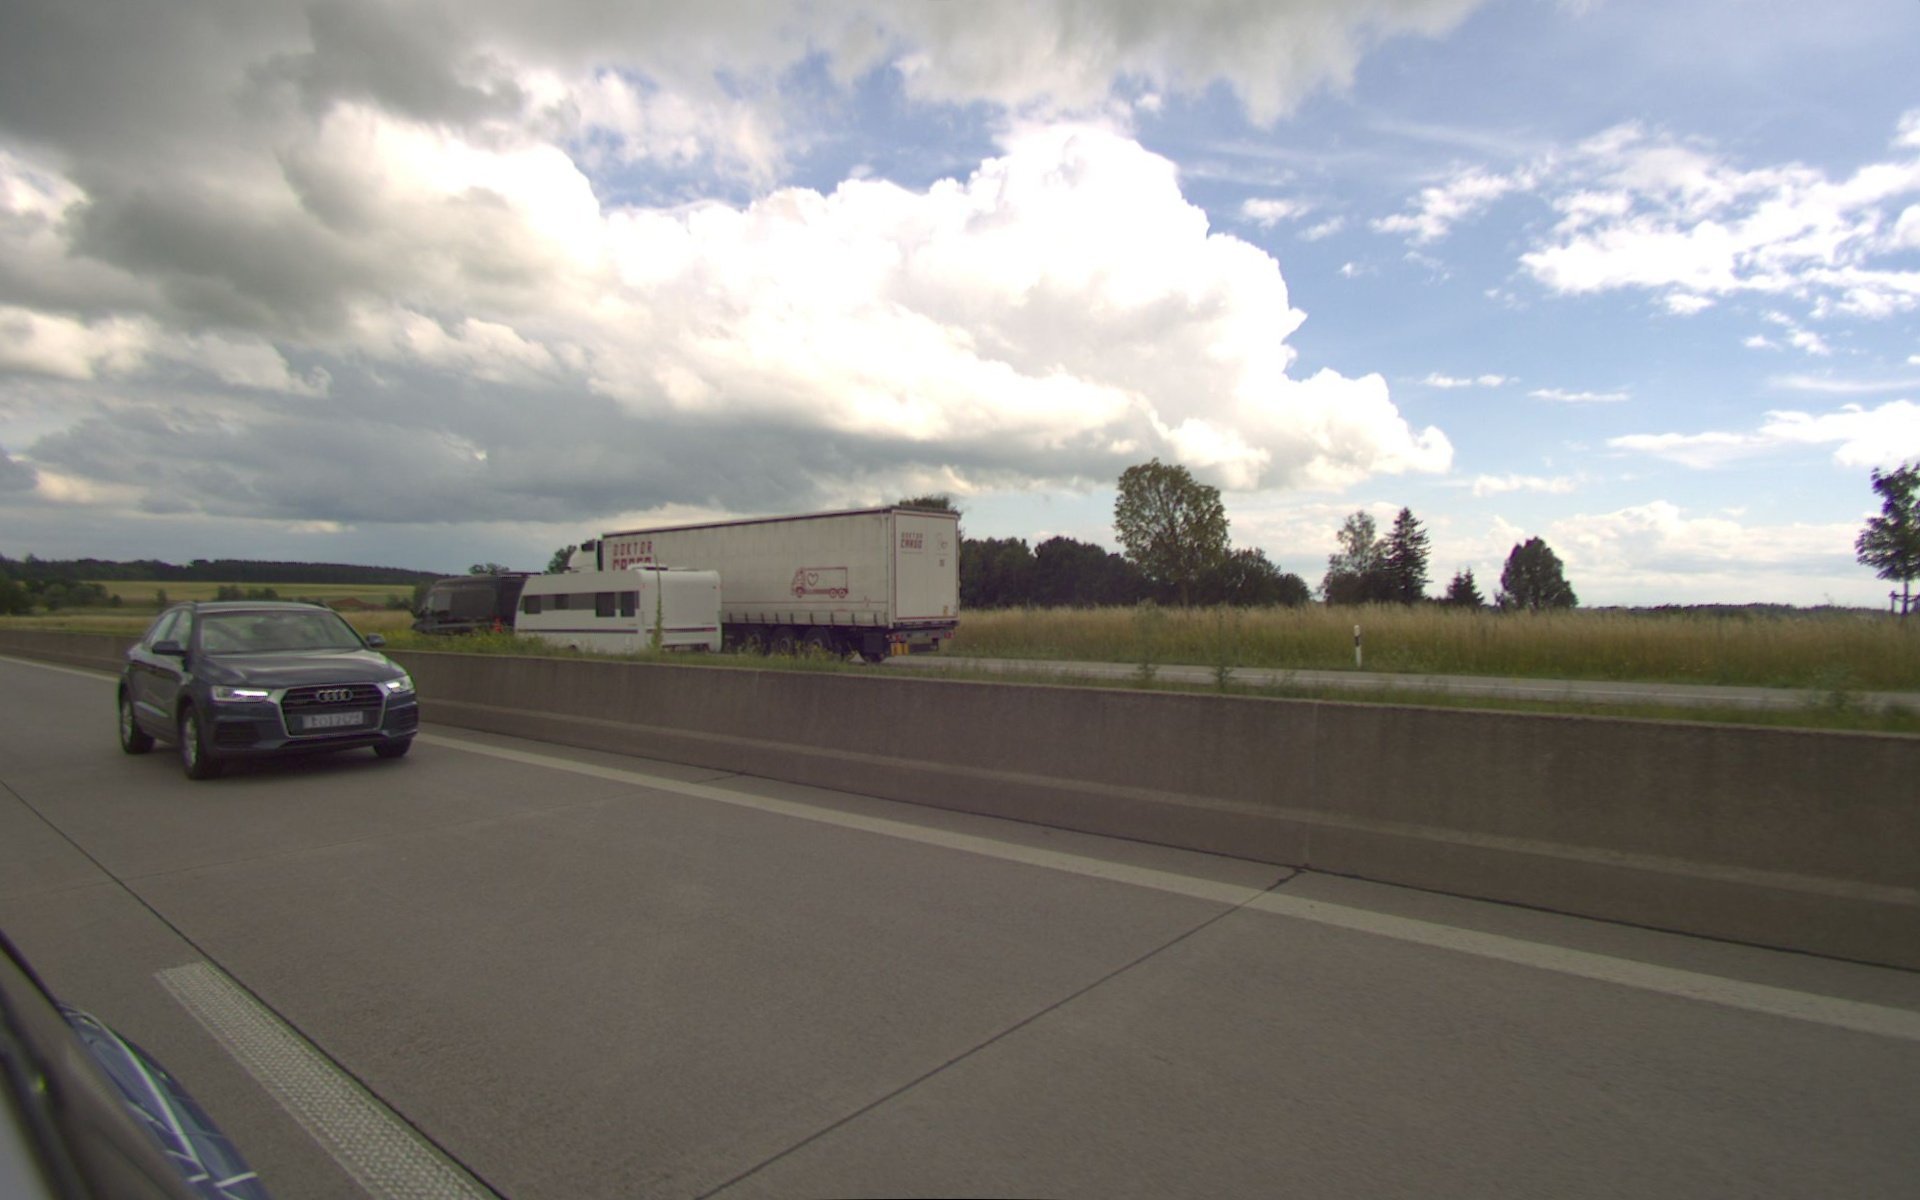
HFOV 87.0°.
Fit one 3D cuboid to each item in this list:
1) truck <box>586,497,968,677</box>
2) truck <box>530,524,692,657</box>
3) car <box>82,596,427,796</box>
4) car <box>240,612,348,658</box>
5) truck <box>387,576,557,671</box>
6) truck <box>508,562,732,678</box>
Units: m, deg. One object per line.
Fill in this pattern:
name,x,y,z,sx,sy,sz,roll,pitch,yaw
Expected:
truck,-6.159,-0.325,30.100,14.562,4.287,2.811,0,0,42
truck,-12.391,-0.332,35.687,6.089,4.287,2.811,0,0,42
car,-7.539,0.808,10.559,5.154,1.608,1.774,-1,0,41
car,-23.029,1.184,34.960,4.208,1.493,1.974,-1,-1,39
truck,-15.871,0.730,32.663,7.121,2.746,2.228,-1,0,40
truck,-9.321,0.505,27.309,6.916,2.746,2.588,-1,0,41
